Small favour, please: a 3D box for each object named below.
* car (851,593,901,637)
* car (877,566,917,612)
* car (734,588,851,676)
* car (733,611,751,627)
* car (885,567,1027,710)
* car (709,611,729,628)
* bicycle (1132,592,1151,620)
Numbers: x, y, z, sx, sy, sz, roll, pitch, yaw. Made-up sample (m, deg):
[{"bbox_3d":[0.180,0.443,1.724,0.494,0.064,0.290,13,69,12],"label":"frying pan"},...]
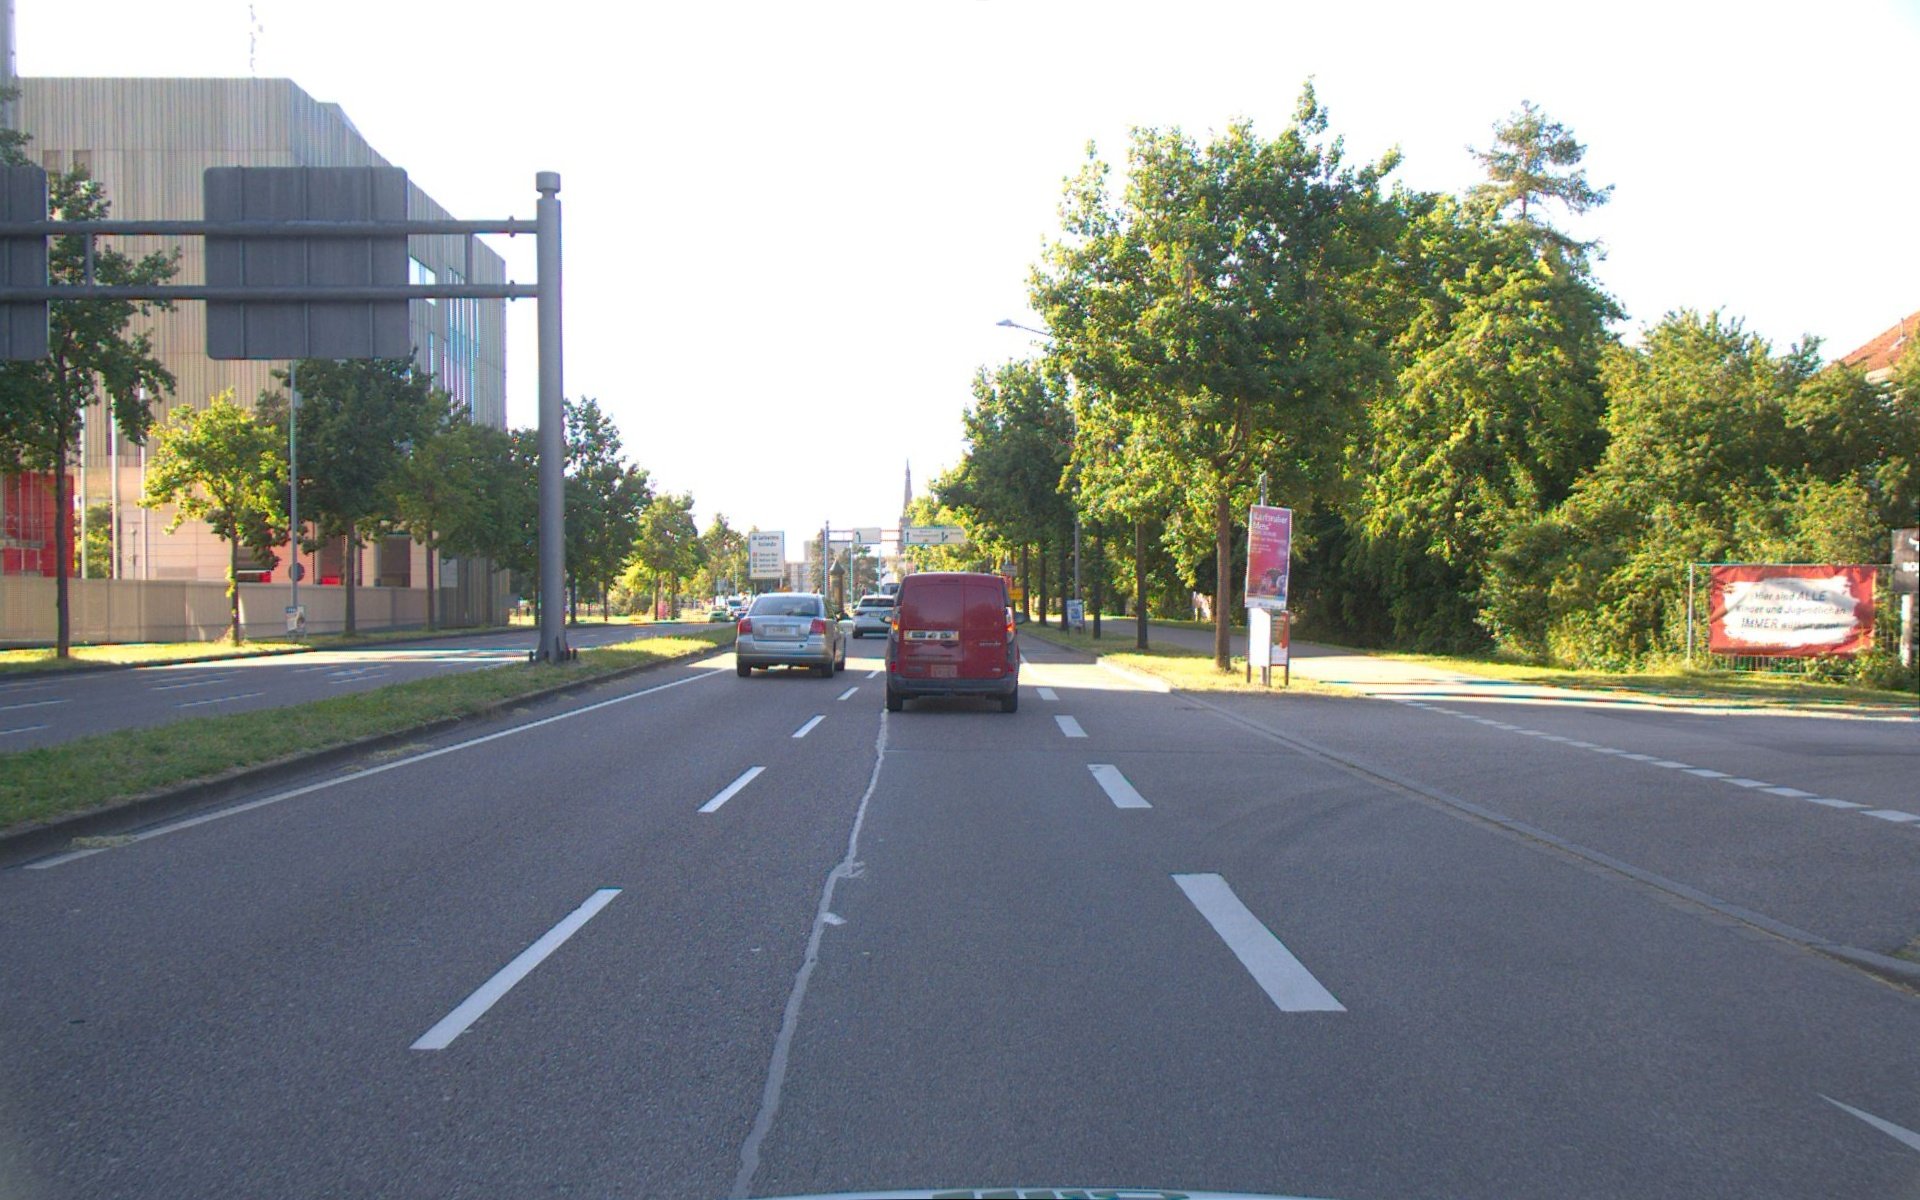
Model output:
[{"bbox_3d":[-2.816,0.496,56.156,1.628,1.422,3.557,-1,0,-2],"label":"car"},{"bbox_3d":[-2.660,-0.459,70.110,1.628,1.889,3.557,-1,0,-2],"label":"car"},{"bbox_3d":[-2.981,0.546,30.203,1.804,1.482,4.161,1,0,-2],"label":"car"},{"bbox_3d":[-22.209,1.955,168.711,1.519,1.534,4.024,-1,0,-3],"label":"car"},{"bbox_3d":[-0.114,0.481,22.764,1.770,1.790,4.004,1,0,-2],"label":"car"},{"bbox_3d":[-20.920,1.682,143.439,1.417,1.461,3.457,-1,0,-3],"label":"car"},{"bbox_3d":[7.633,0.258,69.523,0.757,1.151,1.710,-1,0,6],"label":"bicycle"}]
